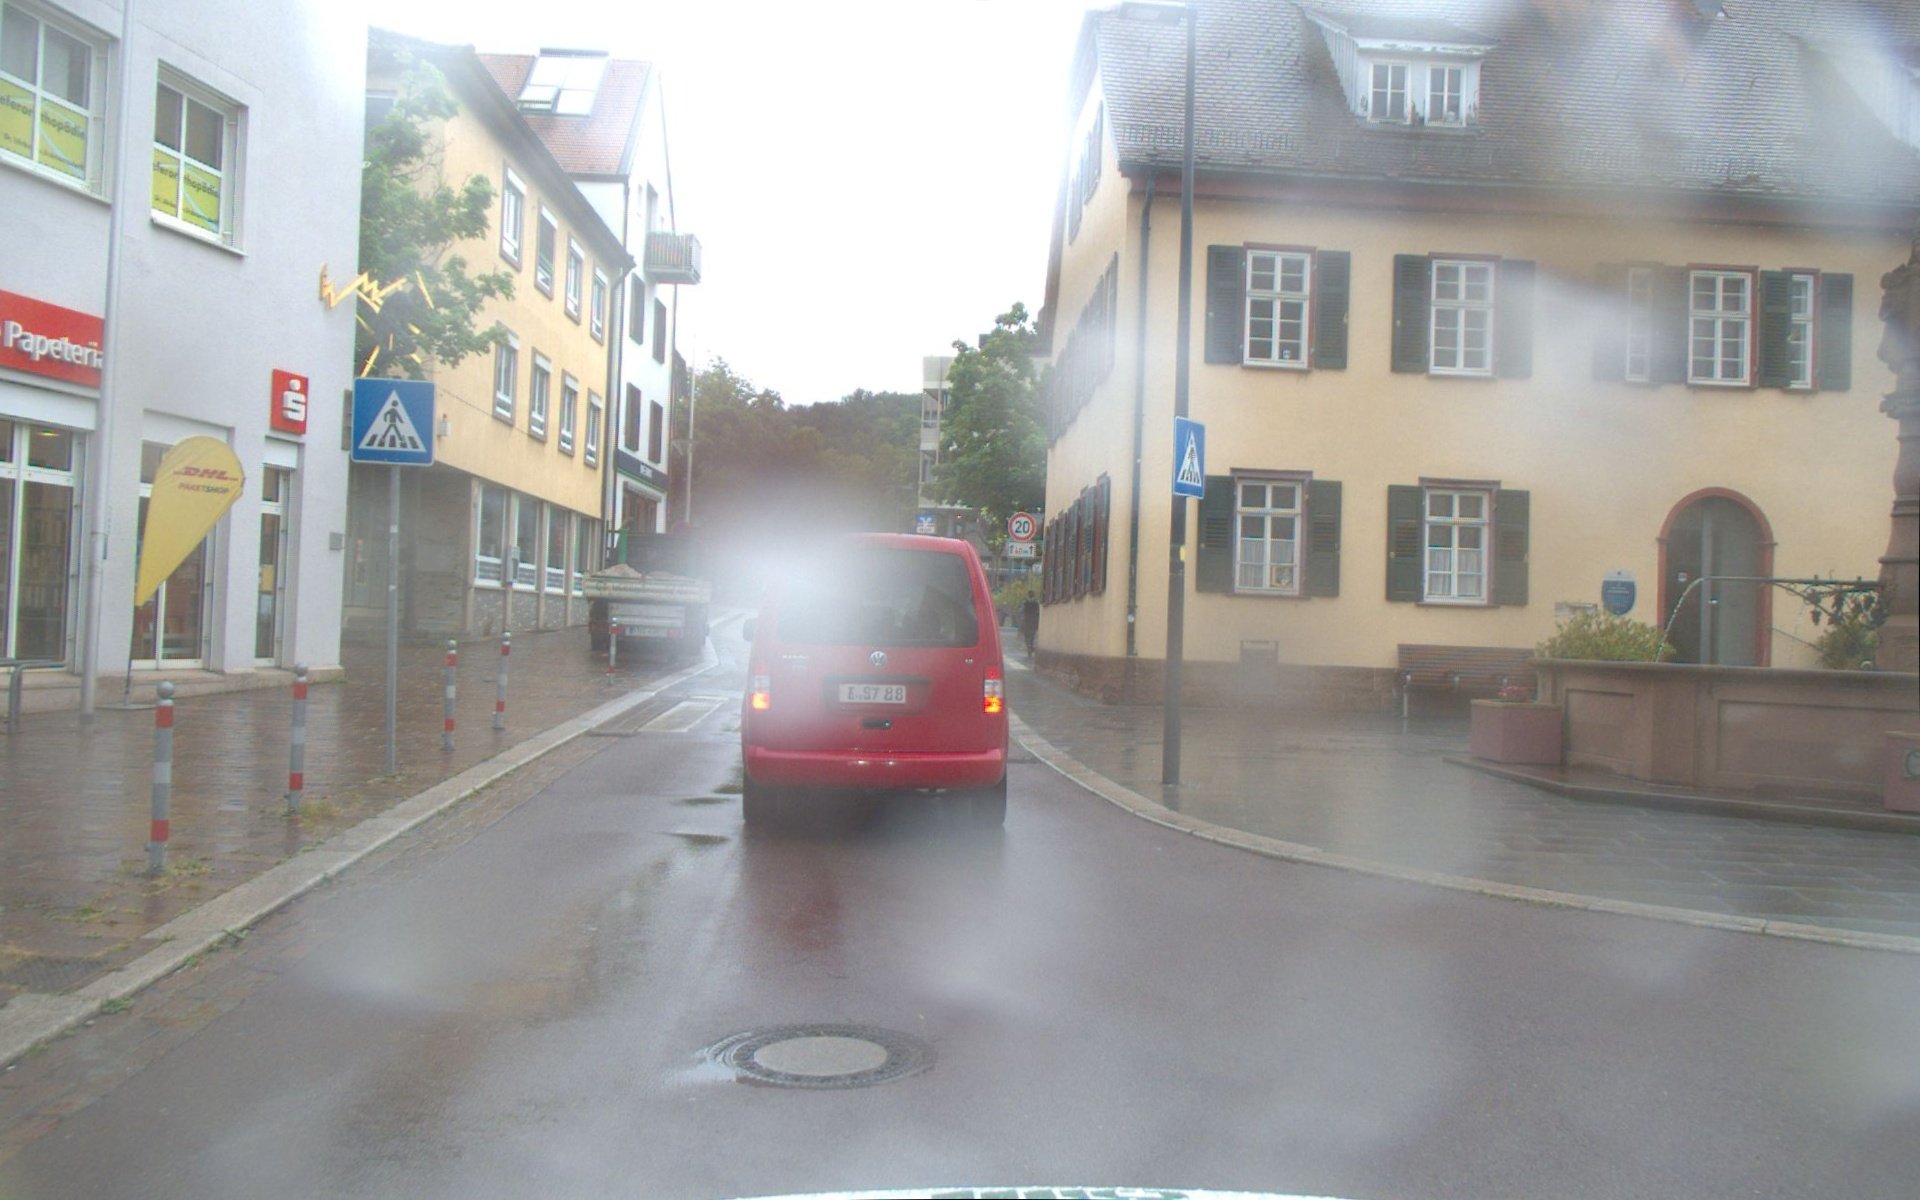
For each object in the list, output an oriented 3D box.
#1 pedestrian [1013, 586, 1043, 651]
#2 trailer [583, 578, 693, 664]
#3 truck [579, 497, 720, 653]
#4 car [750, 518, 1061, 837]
[{"bbox_3d":[1.756,0.471,42.774,0.713,1.645,0.693,1,0,0],"label":"pedestrian"},{"bbox_3d":[-5.637,0.335,29.218,1.695,1.370,3.155,1,1,-8],"label":"trailer"},{"bbox_3d":[-6.240,-0.531,34.029,2.427,2.843,6.589,1,1,-8],"label":"truck"},{"bbox_3d":[-0.537,0.458,11.853,1.826,1.862,4.179,1,0,-6],"label":"car"}]
